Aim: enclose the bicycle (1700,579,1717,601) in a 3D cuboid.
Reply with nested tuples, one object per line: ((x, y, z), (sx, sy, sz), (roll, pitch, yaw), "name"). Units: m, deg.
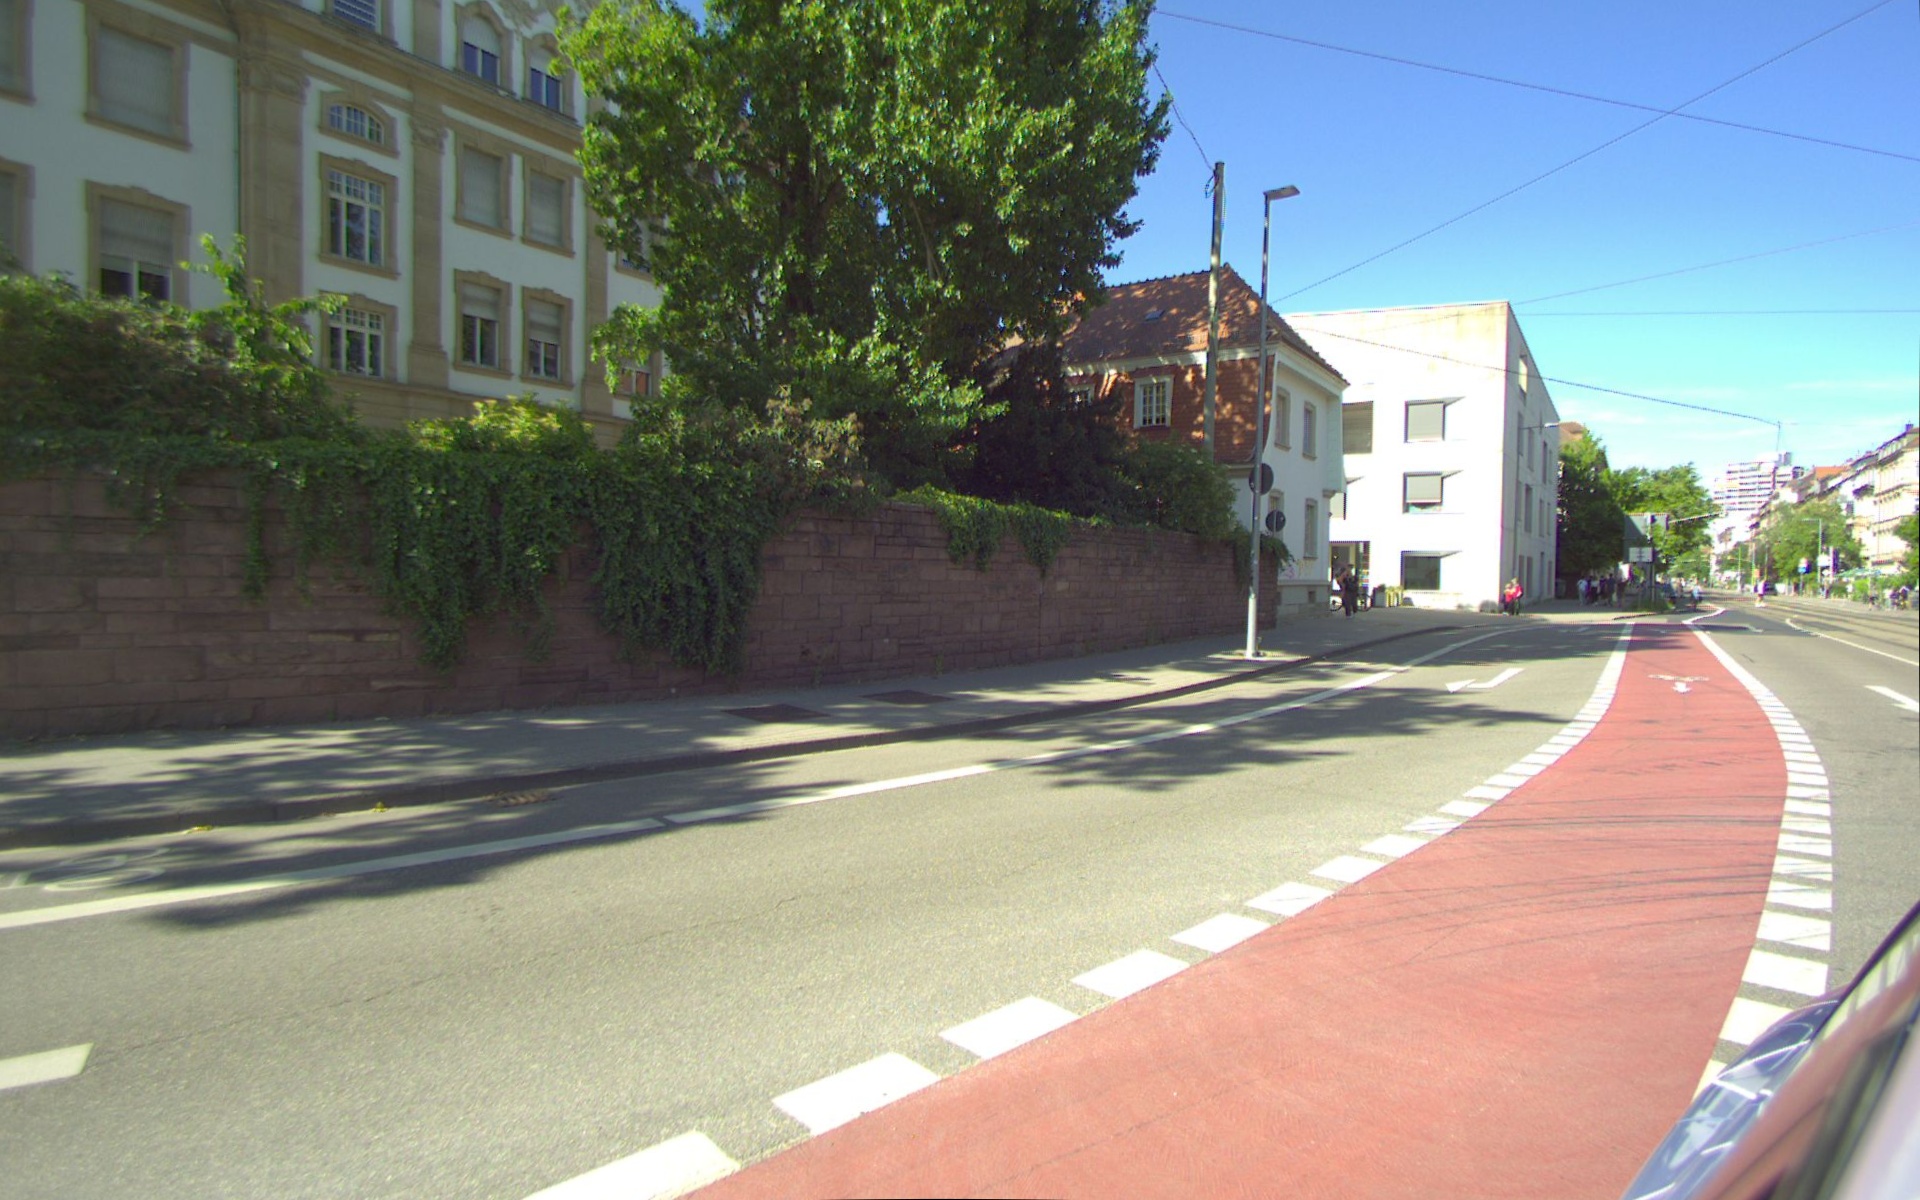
((41.589, -0.568, 56.213), (0.662, 1.166, 1.649), (0, 2, 39), "bicycle")

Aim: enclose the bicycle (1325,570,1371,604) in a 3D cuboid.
((15.177, -0.512, 39.619), (1.578, 1.165, 0.741), (5, 3, 18), "bicycle")

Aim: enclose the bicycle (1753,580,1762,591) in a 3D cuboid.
((121.422, -2.221, 154.101), (0.997, 1.702, 2.947), (0, 2, 35), "bicycle")

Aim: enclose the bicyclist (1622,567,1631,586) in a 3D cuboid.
((79.961, -2.815, 121.449), (0.809, 2.234, 0.971), (0, 1, 37), "bicyclist")

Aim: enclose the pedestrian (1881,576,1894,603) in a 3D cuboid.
((65.348, -0.725, 71.313), (0.575, 1.879, 0.676), (2, 2, 36), "pedestrian")

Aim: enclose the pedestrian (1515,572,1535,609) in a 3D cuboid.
((24.165, -0.402, 43.295), (0.509, 1.586, 0.536), (0, 1, -16), "pedestrian")

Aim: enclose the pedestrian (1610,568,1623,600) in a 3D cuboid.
((37.922, -0.910, 58.447), (0.584, 1.828, 0.514), (2, 1, 35), "pedestrian")

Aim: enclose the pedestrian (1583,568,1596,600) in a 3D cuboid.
((36.810, -0.955, 59.204), (0.584, 1.828, 0.539), (2, 1, 35), "pedestrian")

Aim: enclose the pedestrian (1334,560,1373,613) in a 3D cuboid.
((13.113, -0.464, 33.741), (0.934, 1.698, 0.943), (5, 4, 34), "pedestrian")

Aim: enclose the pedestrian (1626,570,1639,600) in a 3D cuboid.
((38.674, -0.868, 58.198), (0.584, 1.749, 0.514), (2, 1, 35), "pedestrian")

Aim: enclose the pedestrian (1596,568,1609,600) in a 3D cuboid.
((37.377, -0.952, 58.839), (0.584, 1.828, 0.539), (2, 1, 35), "pedestrian")

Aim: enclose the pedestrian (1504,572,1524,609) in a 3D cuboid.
((24.014, -0.413, 43.869), (0.509, 1.586, 0.536), (0, 1, -16), "pedestrian")

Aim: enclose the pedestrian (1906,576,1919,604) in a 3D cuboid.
((65.909, -0.692, 69.984), (0.575, 1.879, 0.676), (2, 2, 36), "pedestrian")

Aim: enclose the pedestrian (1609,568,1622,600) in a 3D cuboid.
((38.735, -0.948, 59.788), (0.584, 1.828, 0.575), (2, 1, 35), "pedestrian")

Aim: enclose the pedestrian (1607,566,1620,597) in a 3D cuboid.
((39.513, -1.126, 61.172), (0.584, 1.828, 0.539), (2, 1, 35), "pedestrian")

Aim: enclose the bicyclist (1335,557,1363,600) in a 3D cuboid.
((15.216, -0.858, 39.603), (0.868, 1.602, 0.741), (5, 3, 17), "bicyclist")

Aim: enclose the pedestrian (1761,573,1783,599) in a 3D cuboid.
((56.128, -0.966, 69.970), (0.919, 1.759, 0.675), (1, 1, 17), "pedestrian")

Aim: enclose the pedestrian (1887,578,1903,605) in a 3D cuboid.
((65.807, -0.605, 71.249), (0.725, 1.879, 0.645), (2, 2, 38), "pedestrian")

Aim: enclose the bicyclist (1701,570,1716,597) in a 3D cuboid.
((41.575, -0.892, 56.191), (0.662, 1.479, 0.613), (0, 1, 40), "bicyclist")

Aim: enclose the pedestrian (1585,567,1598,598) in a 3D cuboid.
((37.773, -1.030, 60.532), (0.584, 1.828, 0.575), (2, 1, 35), "pedestrian")
